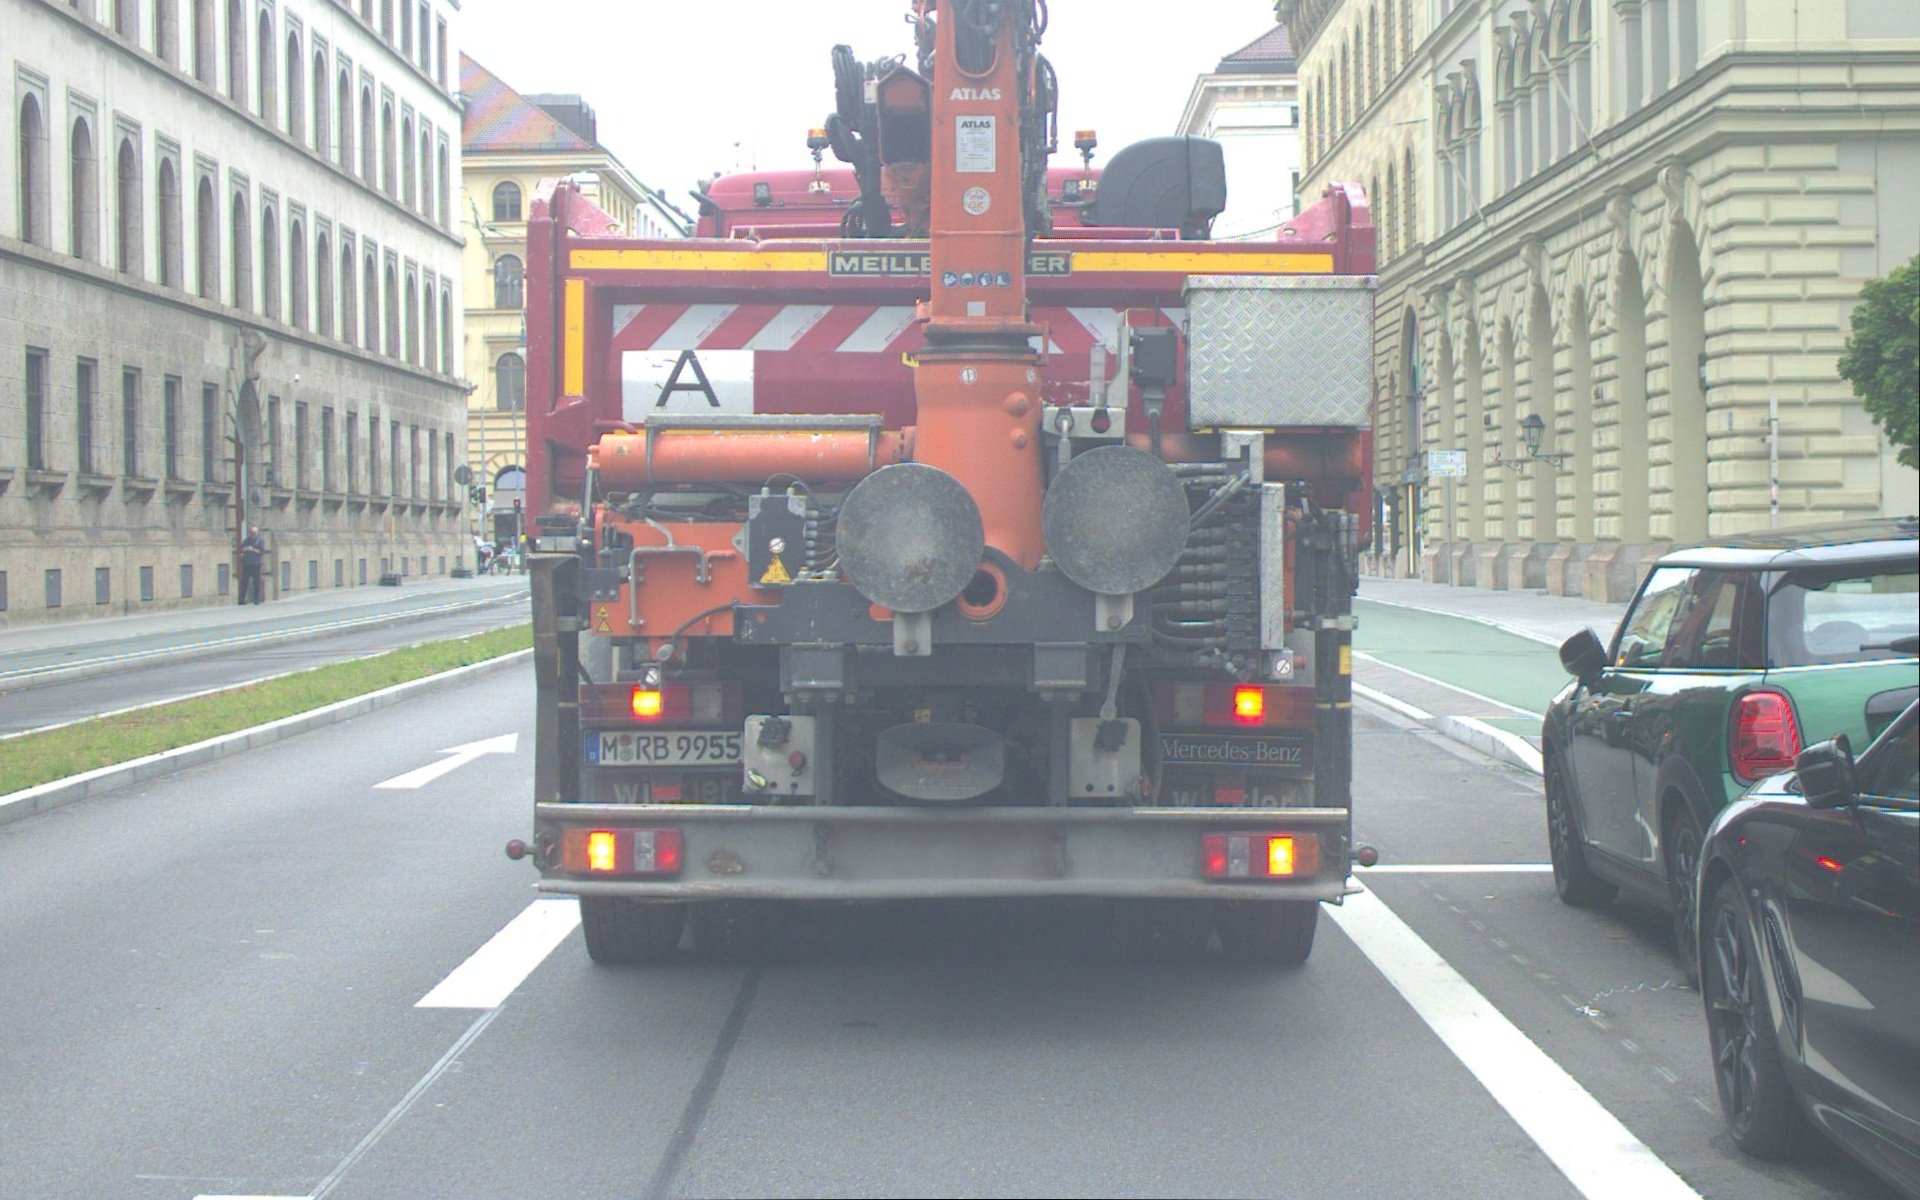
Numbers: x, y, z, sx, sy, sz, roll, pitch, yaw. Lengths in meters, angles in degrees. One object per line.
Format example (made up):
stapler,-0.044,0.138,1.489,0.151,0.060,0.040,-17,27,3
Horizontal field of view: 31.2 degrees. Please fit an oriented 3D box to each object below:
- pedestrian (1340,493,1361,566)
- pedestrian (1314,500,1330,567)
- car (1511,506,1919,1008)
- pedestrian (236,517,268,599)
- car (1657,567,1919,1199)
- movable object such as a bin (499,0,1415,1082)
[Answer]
pedestrian,9.810,-1.771,86.326,0.445,1.830,0.556,-1,1,2
pedestrian,9.095,-1.680,86.366,0.337,1.666,0.440,-1,1,2
car,3.022,0.427,12.069,1.610,1.490,3.425,-1,1,0
pedestrian,-15.710,-0.936,76.278,0.588,1.825,0.499,0,2,-1
car,2.578,0.669,6.362,1.680,1.381,4.427,0,1,0
movable object such as a bin,-0.048,-0.595,12.078,2.423,3.599,5.852,0,1,-1
